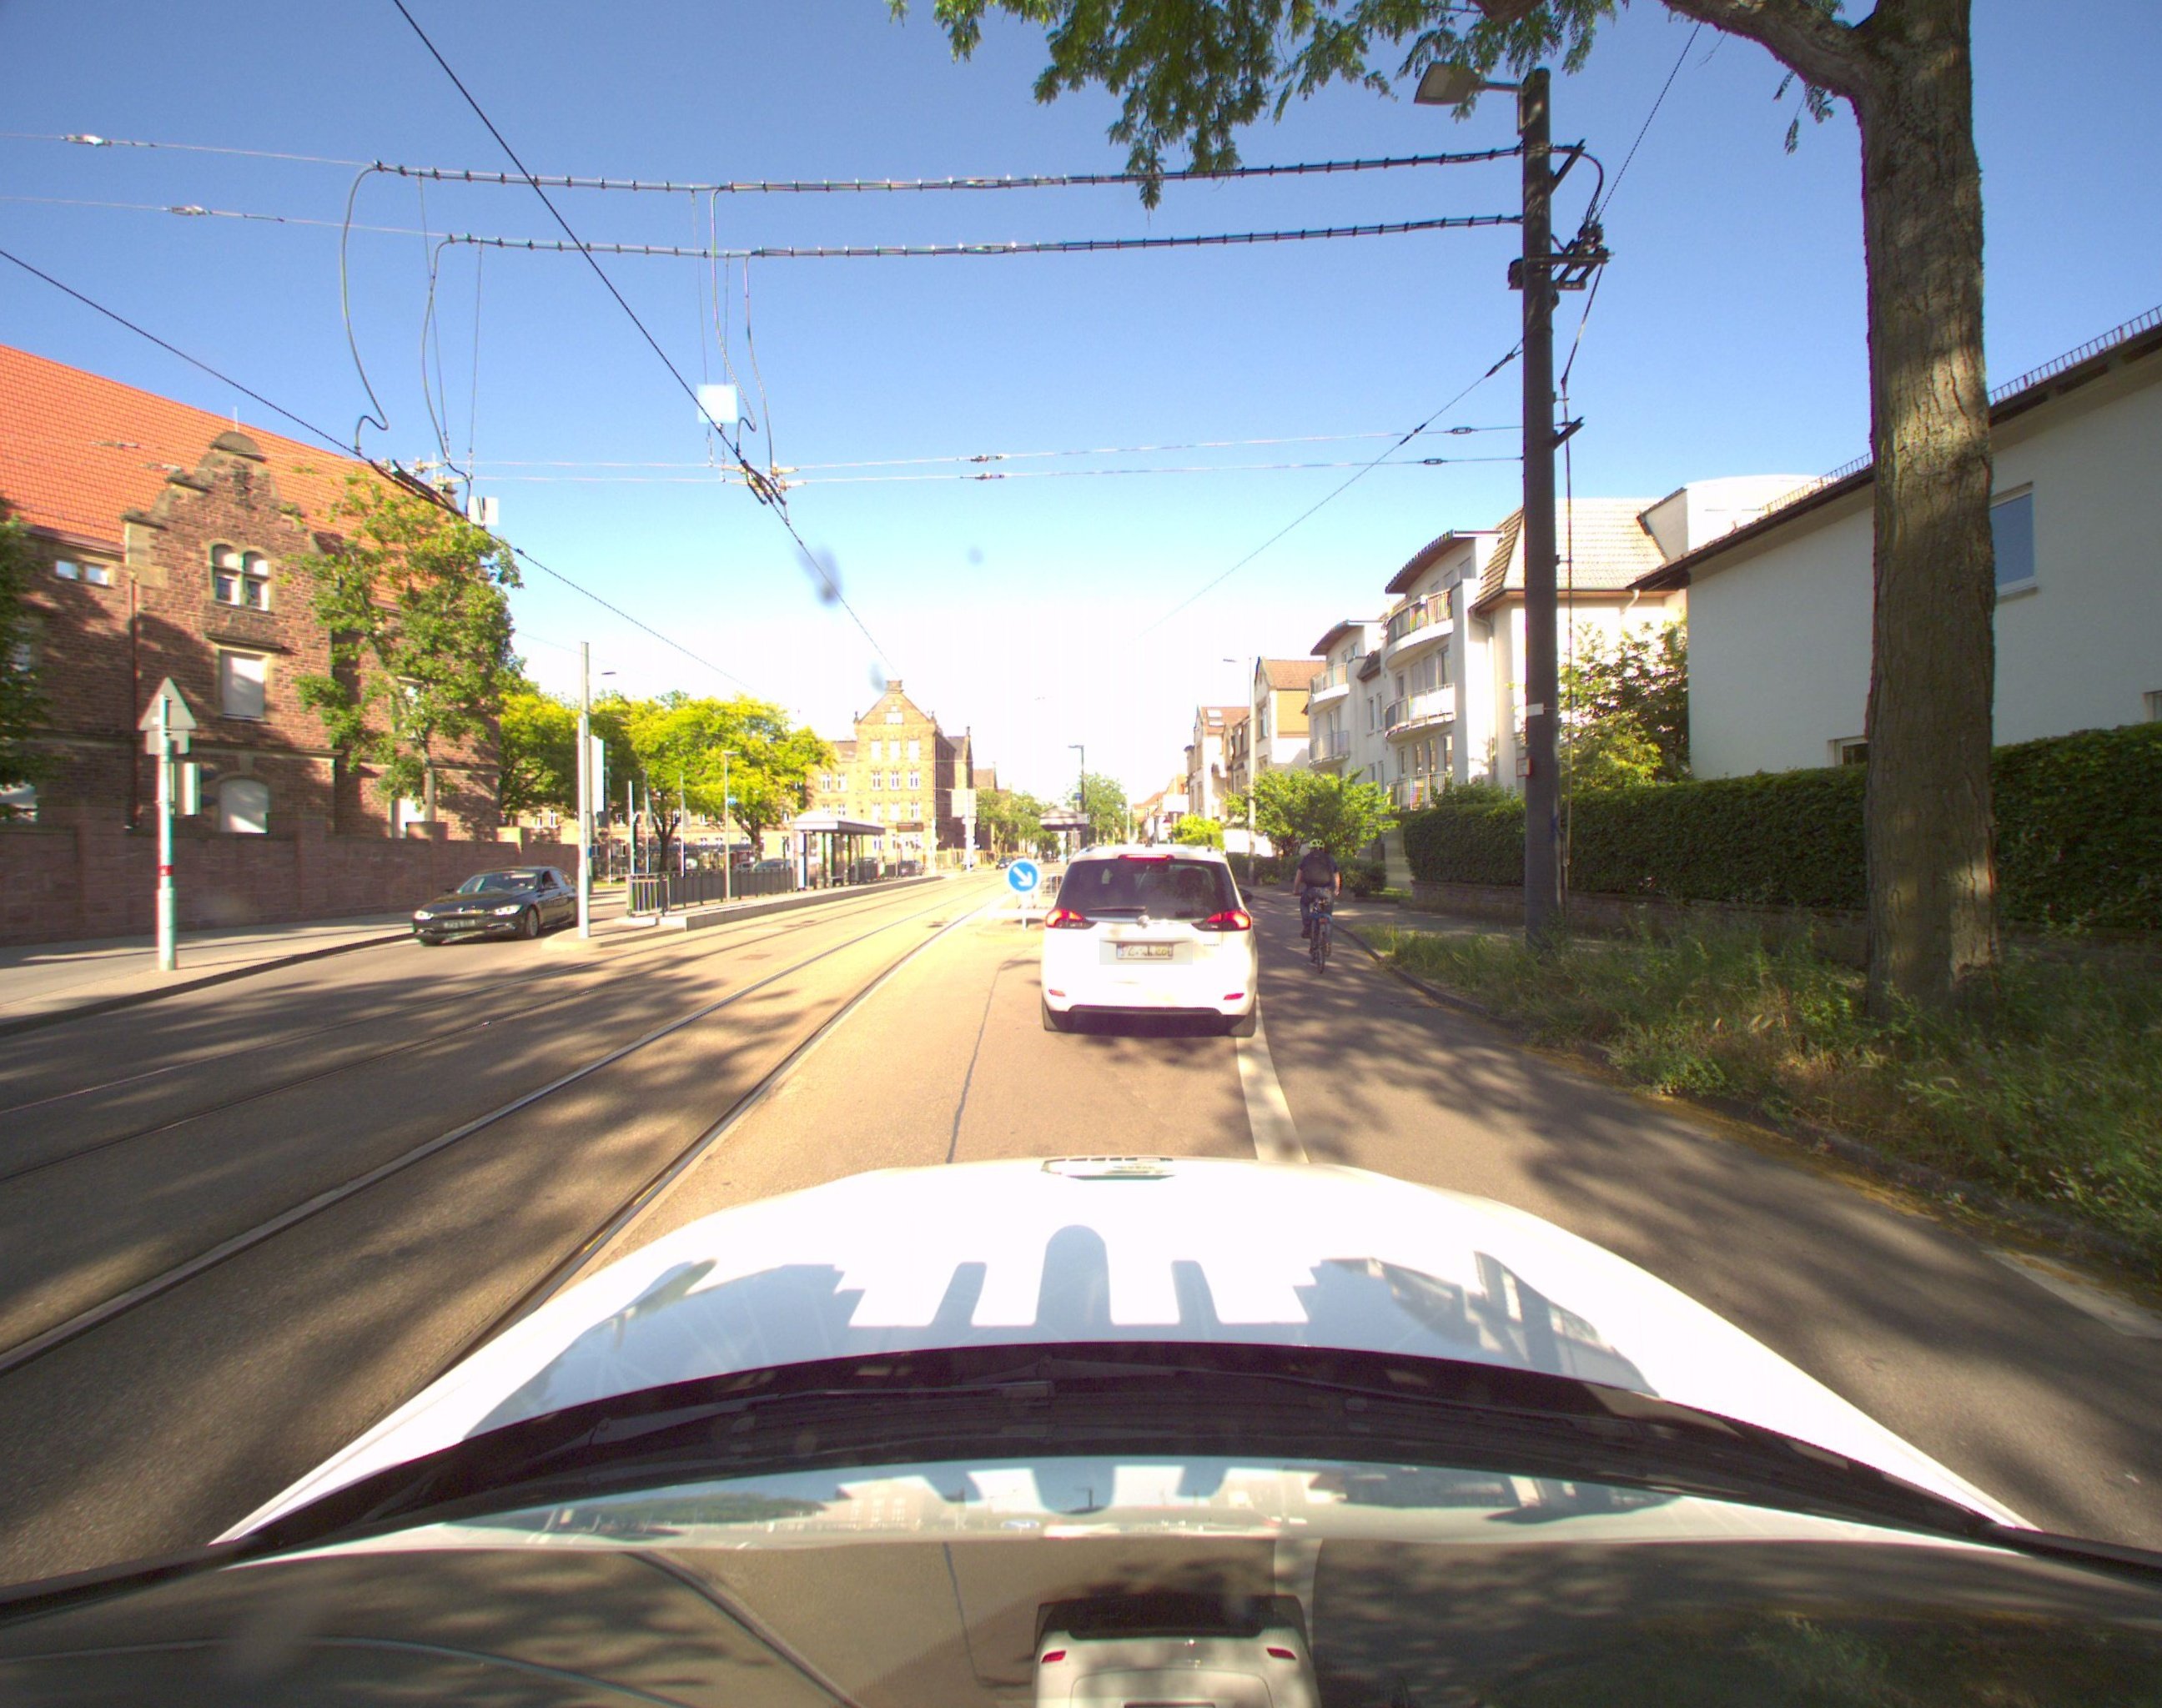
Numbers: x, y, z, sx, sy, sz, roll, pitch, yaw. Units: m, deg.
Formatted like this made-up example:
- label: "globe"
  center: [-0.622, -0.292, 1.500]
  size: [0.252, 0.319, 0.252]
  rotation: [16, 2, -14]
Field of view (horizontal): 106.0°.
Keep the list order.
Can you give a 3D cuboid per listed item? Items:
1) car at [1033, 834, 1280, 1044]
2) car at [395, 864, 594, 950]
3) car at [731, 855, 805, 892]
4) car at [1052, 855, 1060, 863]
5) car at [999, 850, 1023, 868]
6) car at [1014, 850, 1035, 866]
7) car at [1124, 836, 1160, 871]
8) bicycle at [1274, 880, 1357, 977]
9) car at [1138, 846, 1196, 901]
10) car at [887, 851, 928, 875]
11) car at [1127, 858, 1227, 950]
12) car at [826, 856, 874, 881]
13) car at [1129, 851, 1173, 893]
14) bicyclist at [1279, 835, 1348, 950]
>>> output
- label: "car"
  center: [0.636, 0.665, 8.205]
  size: [1.871, 1.585, 4.001]
  rotation: [0, -1, 2]
- label: "car"
  center: [-11.726, 0.962, 16.687]
  size: [1.801, 1.382, 4.471]
  rotation: [-2, 1, -15]
- label: "car"
  center: [-14.438, 0.877, 37.833]
  size: [1.822, 1.617, 4.324]
  rotation: [-1, -1, -1]
- label: "car"
  center: [-6.711, 1.278, 218.966]
  size: [1.989, 2.014, 3.994]
  rotation: [0, -1, -4]
- label: "car"
  center: [-8.212, 0.603, 95.798]
  size: [1.982, 2.014, 4.009]
  rotation: [-1, -1, 8]
- label: "car"
  center: [-7.678, 0.559, 110.982]
  size: [1.982, 2.014, 4.009]
  rotation: [-1, -1, 8]
- label: "car"
  center: [2.969, -0.026, 40.323]
  size: [1.590, 1.635, 3.903]
  rotation: [1, 0, 2]
- label: "bicycle"
  center: [3.173, 0.964, 11.193]
  size: [0.640, 1.143, 1.903]
  rotation: [-1, 0, 2]
- label: "car"
  center: [2.694, 0.582, 26.194]
  size: [1.563, 1.614, 3.785]
  rotation: [1, 0, 2]
- label: "car"
  center: [-13.805, 0.725, 65.116]
  size: [1.817, 1.788, 4.337]
  rotation: [-1, -1, 8]
- label: "car"
  center: [1.770, 0.800, 14.855]
  size: [1.560, 1.401, 3.792]
  rotation: [1, 0, 7]
- label: "car"
  center: [-14.545, 0.917, 51.466]
  size: [1.821, 1.446, 4.326]
  rotation: [-1, -1, -1]
- label: "car"
  center: [2.858, 0.719, 33.932]
  size: [1.590, 1.635, 3.903]
  rotation: [1, 0, 2]
- label: "bicyclist"
  center: [3.172, 0.506, 11.193]
  size: [0.641, 1.488, 1.115]
  rotation: [0, -1, 2]
